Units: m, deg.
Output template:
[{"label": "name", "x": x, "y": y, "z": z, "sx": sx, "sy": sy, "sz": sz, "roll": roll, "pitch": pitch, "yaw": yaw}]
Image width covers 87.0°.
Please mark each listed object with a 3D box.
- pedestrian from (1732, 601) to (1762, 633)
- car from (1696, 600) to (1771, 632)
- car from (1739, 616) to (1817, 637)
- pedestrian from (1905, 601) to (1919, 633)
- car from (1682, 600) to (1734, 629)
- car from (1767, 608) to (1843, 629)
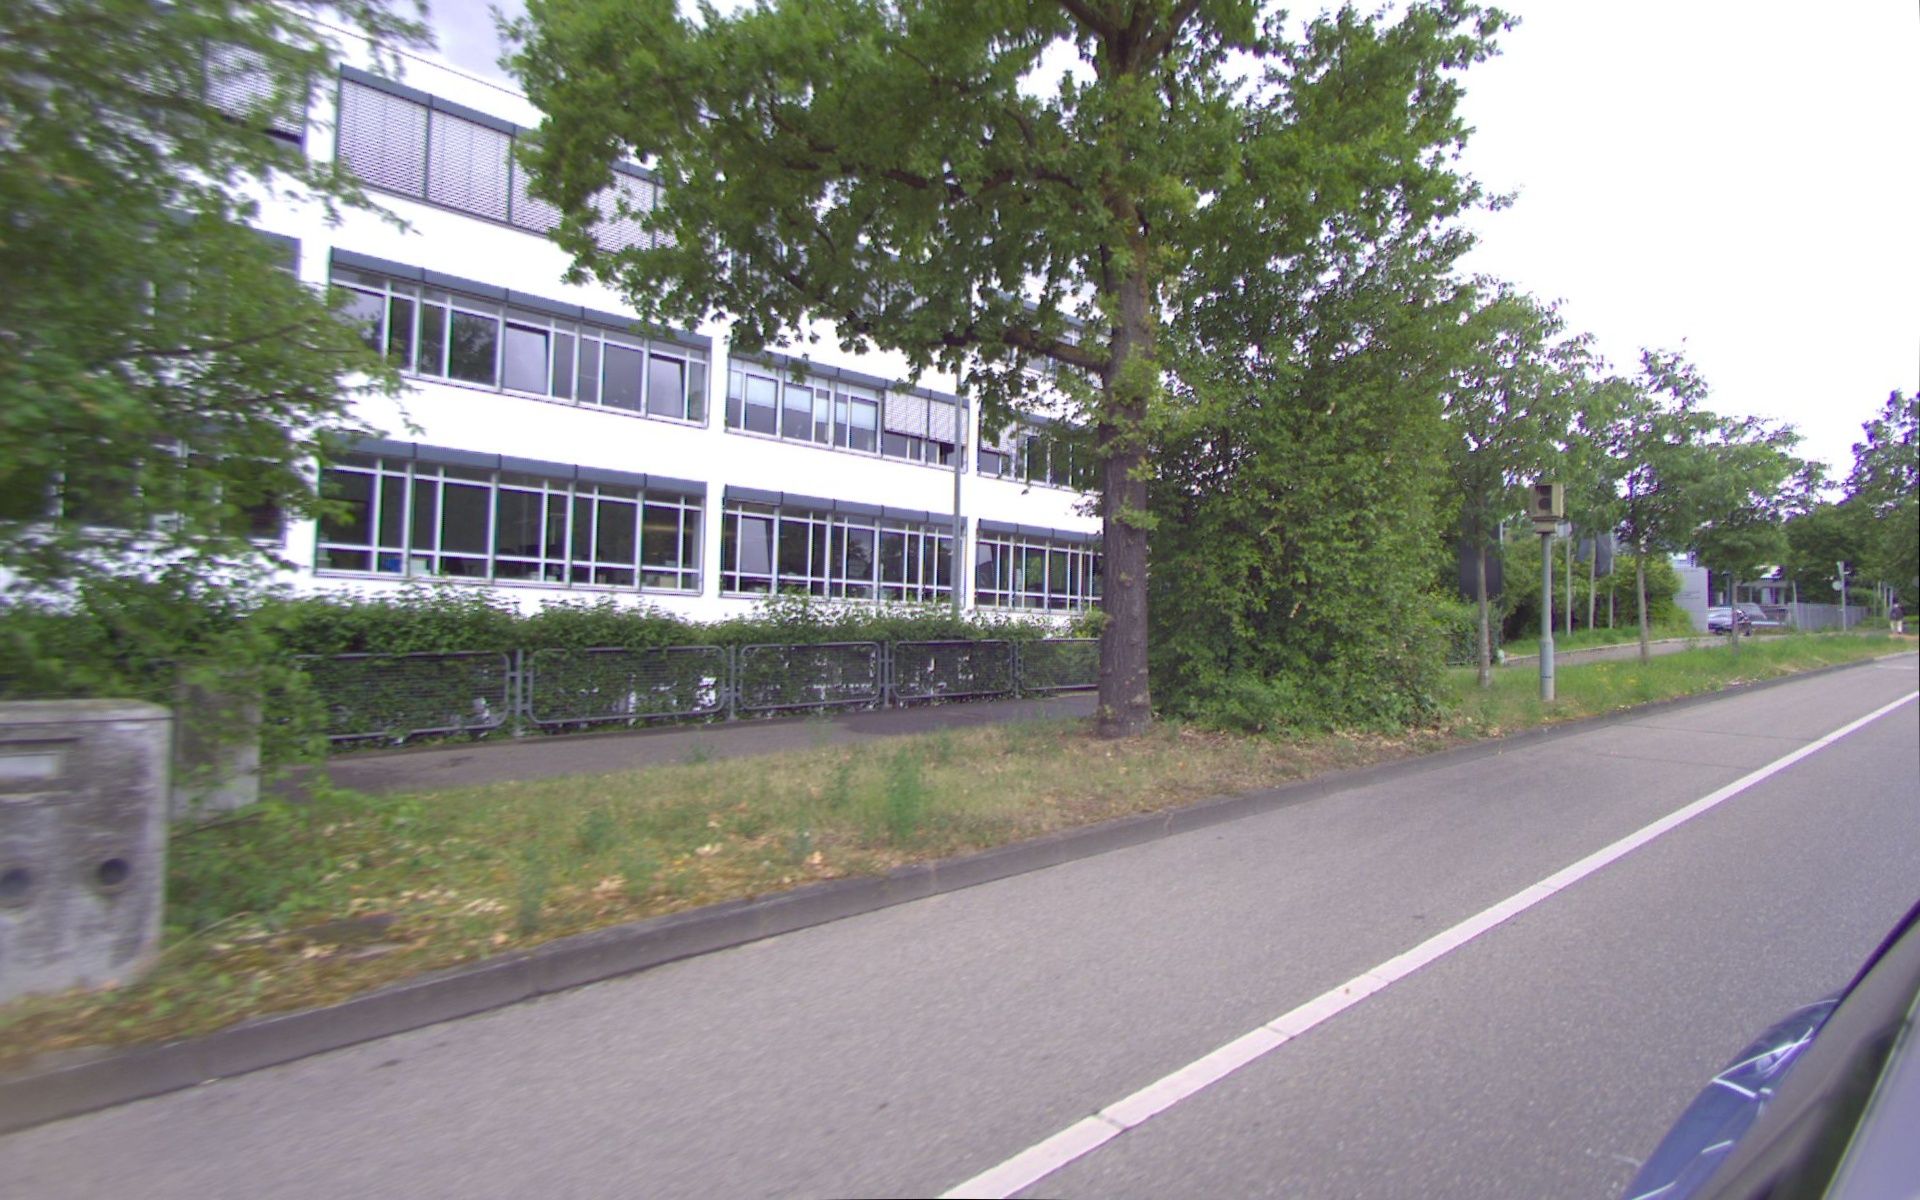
[{"label": "pedestrian", "x": 40.200, "y": 0.872, "z": 51.694, "sx": 0.796, "sy": 1.586, "sz": 0.945, "roll": 0, "pitch": 1, "yaw": -27}, {"label": "car", "x": 37.382, "y": 0.791, "z": 48.885, "sx": 4.892, "sy": 1.435, "sz": 1.849, "roll": 1, "pitch": -2, "yaw": -40}, {"label": "car", "x": 60.321, "y": 1.980, "z": 74.691, "sx": 1.787, "sy": 1.467, "sz": 4.182, "roll": 2, "pitch": -4, "yaw": -41}, {"label": "pedestrian", "x": 53.147, "y": 0.924, "z": 56.315, "sx": 0.493, "sy": 1.748, "sz": 0.732, "roll": 0, "pitch": 1, "yaw": -44}, {"label": "car", "x": 62.703, "y": 1.238, "z": 84.892, "sx": 2.087, "sy": 2.304, "sz": 4.458, "roll": 1, "pitch": -1, "yaw": 17}, {"label": "car", "x": 64.602, "y": 1.420, "z": 77.419, "sx": 1.787, "sy": 1.467, "sz": 4.182, "roll": 2, "pitch": -4, "yaw": -41}]
